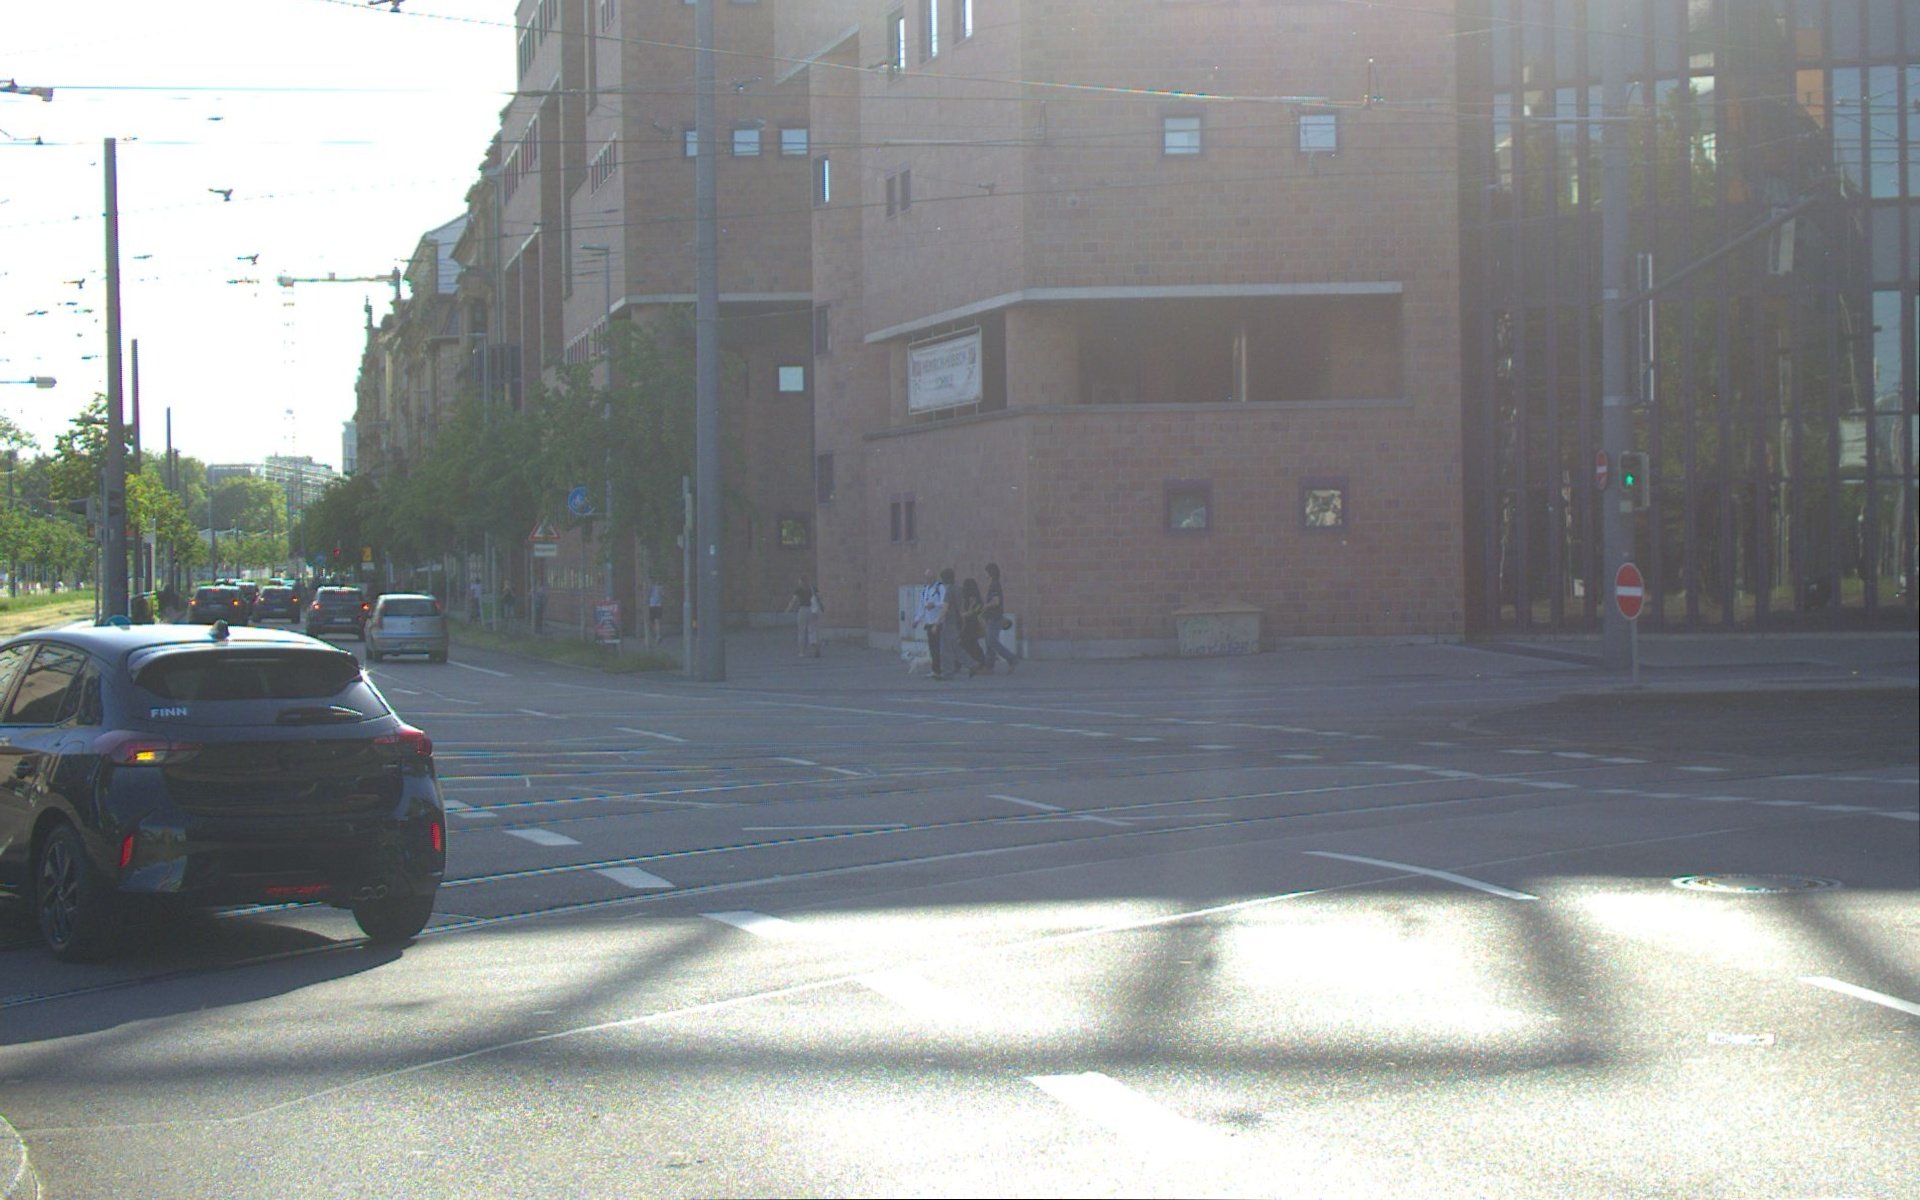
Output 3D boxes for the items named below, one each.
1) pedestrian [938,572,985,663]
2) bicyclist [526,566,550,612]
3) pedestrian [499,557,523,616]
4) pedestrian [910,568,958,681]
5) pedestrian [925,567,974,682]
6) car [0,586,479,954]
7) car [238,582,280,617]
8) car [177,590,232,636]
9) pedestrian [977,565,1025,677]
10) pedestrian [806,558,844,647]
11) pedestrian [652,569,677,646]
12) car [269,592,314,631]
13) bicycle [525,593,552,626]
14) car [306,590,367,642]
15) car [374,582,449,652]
[{"bbox_3d":[0.016,0.283,56.472,0.547,1.472,0.573,-1,1,-29],"label":"pedestrian"},{"bbox_3d":[-12.484,-0.334,101.706,0.645,1.335,0.653,-1,0,-10],"label":"bicyclist"},{"bbox_3d":[-13.709,-0.414,104.940,0.640,1.780,0.688,-2,1,-10],"label":"pedestrian"},{"bbox_3d":[-0.412,0.386,54.933,0.571,1.780,0.549,-2,1,-19],"label":"pedestrian"},{"bbox_3d":[-0.163,0.383,54.192,0.571,1.780,0.549,-2,1,-19],"label":"pedestrian"},{"bbox_3d":[-3.815,0.699,16.119,1.672,1.496,3.690,1,0,-33],"label":"car"},{"bbox_3d":[-29.921,-0.034,146.789,1.720,1.448,3.699,-2,1,-11],"label":"car"},{"bbox_3d":[-25.750,0.431,117.257,1.720,1.448,3.699,-2,1,-11],"label":"car"},{"bbox_3d":[0.664,0.338,55.592,0.571,1.780,0.549,-2,1,-19],"label":"pedestrian"},{"bbox_3d":[-2.736,0.050,69.507,0.640,1.780,0.688,-2,1,-8],"label":"pedestrian"},{"bbox_3d":[-7.030,0.179,81.789,0.547,1.780,0.573,-1,3,-8],"label":"pedestrian"},{"bbox_3d":[-26.534,0.452,136.455,1.720,1.448,3.699,-2,1,-11],"label":"car"},{"bbox_3d":[-12.475,0.274,101.729,0.648,0.901,2.346,0,1,-10],"label":"bicycle"},{"bbox_3d":[-18.435,0.462,101.568,1.670,1.448,3.699,-2,1,-11],"label":"car"},{"bbox_3d":[-11.957,0.348,74.928,1.559,1.451,3.432,-1,1,-9],"label":"car"}]
